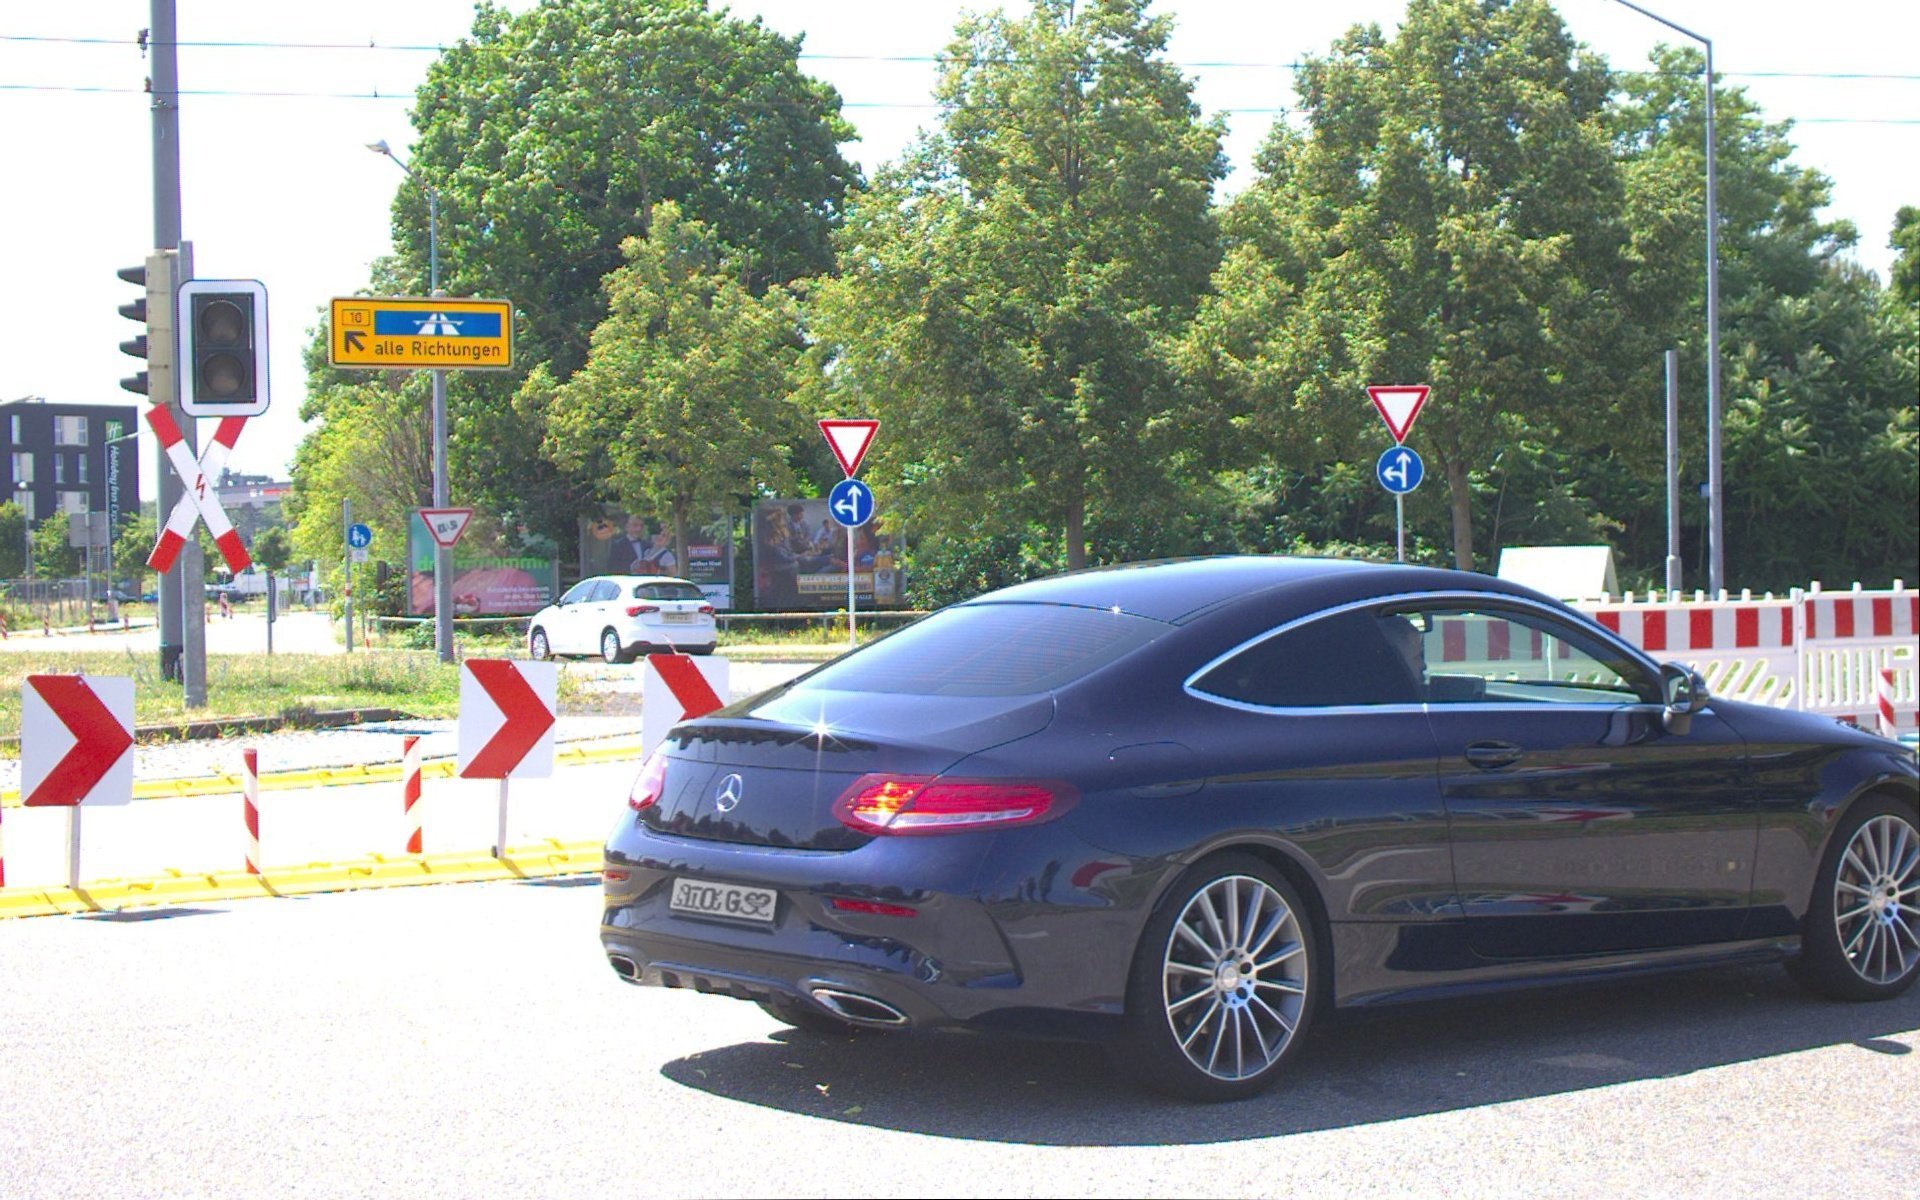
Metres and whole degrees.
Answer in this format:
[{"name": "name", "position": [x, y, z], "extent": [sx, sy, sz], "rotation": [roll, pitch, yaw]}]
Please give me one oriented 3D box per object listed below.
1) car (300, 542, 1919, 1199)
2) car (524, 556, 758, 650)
[{"name": "car", "position": [0.772, 0.578, 9.839], "extent": [4.941, 1.431, 1.857], "rotation": [-1, 1, -41]}, {"name": "car", "position": [-5.349, 0.040, 57.169], "extent": [1.994, 1.481, 4.366], "rotation": [-1, 1, -34]}]
